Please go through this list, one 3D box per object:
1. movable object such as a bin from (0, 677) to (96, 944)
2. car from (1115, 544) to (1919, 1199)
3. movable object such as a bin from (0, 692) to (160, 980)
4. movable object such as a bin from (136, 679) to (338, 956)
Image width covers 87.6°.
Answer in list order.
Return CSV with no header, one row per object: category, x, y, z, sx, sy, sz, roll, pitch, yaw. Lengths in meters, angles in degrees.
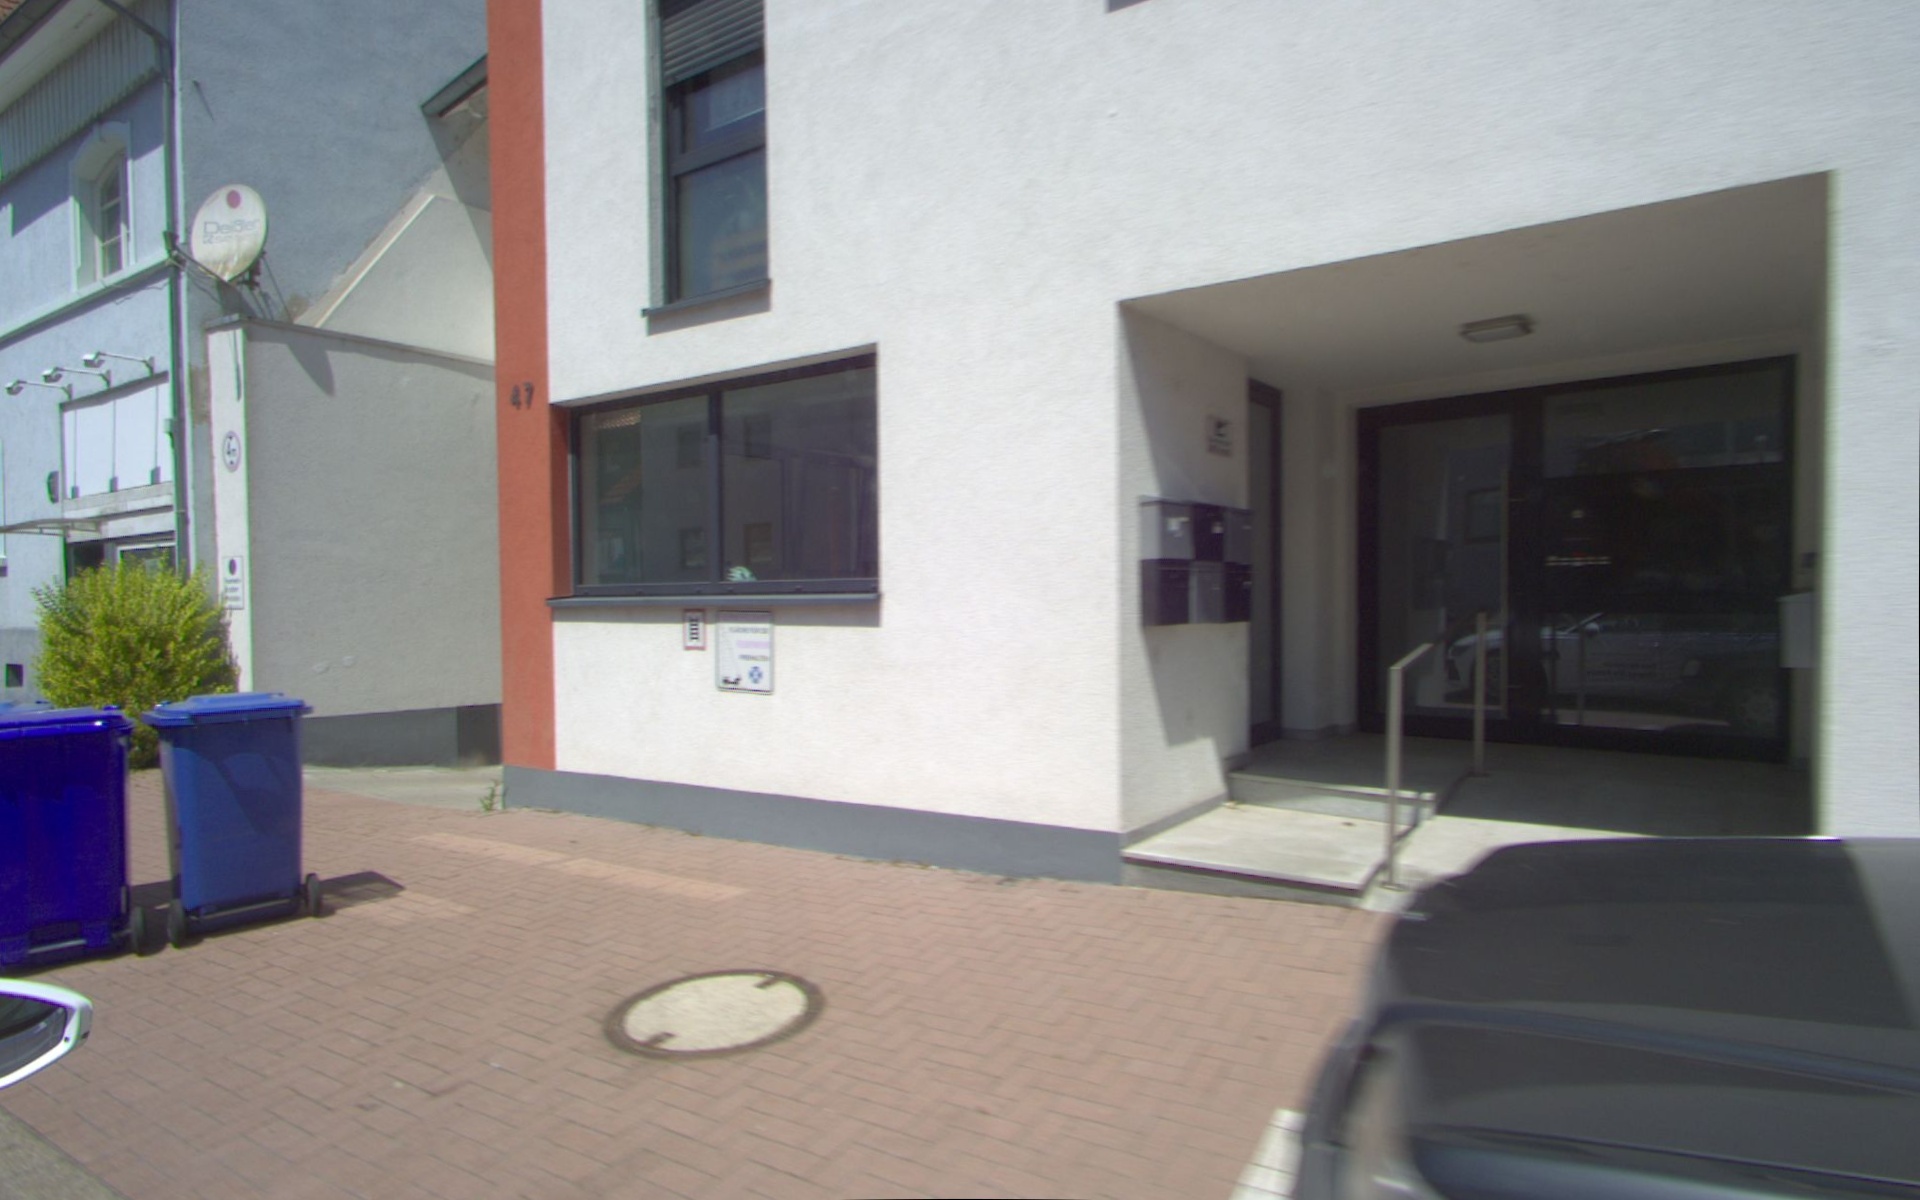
movable object such as a bin,-4.540,0.957,4.665,0.717,1.088,0.963,-3,2,-42
car,2.670,0.636,0.726,4.767,1.467,1.696,-1,2,32
movable object such as a bin,-3.901,0.972,4.299,0.650,1.049,0.678,-3,2,-42
movable object such as a bin,-3.432,0.958,4.743,0.649,1.074,0.827,-3,2,-42
